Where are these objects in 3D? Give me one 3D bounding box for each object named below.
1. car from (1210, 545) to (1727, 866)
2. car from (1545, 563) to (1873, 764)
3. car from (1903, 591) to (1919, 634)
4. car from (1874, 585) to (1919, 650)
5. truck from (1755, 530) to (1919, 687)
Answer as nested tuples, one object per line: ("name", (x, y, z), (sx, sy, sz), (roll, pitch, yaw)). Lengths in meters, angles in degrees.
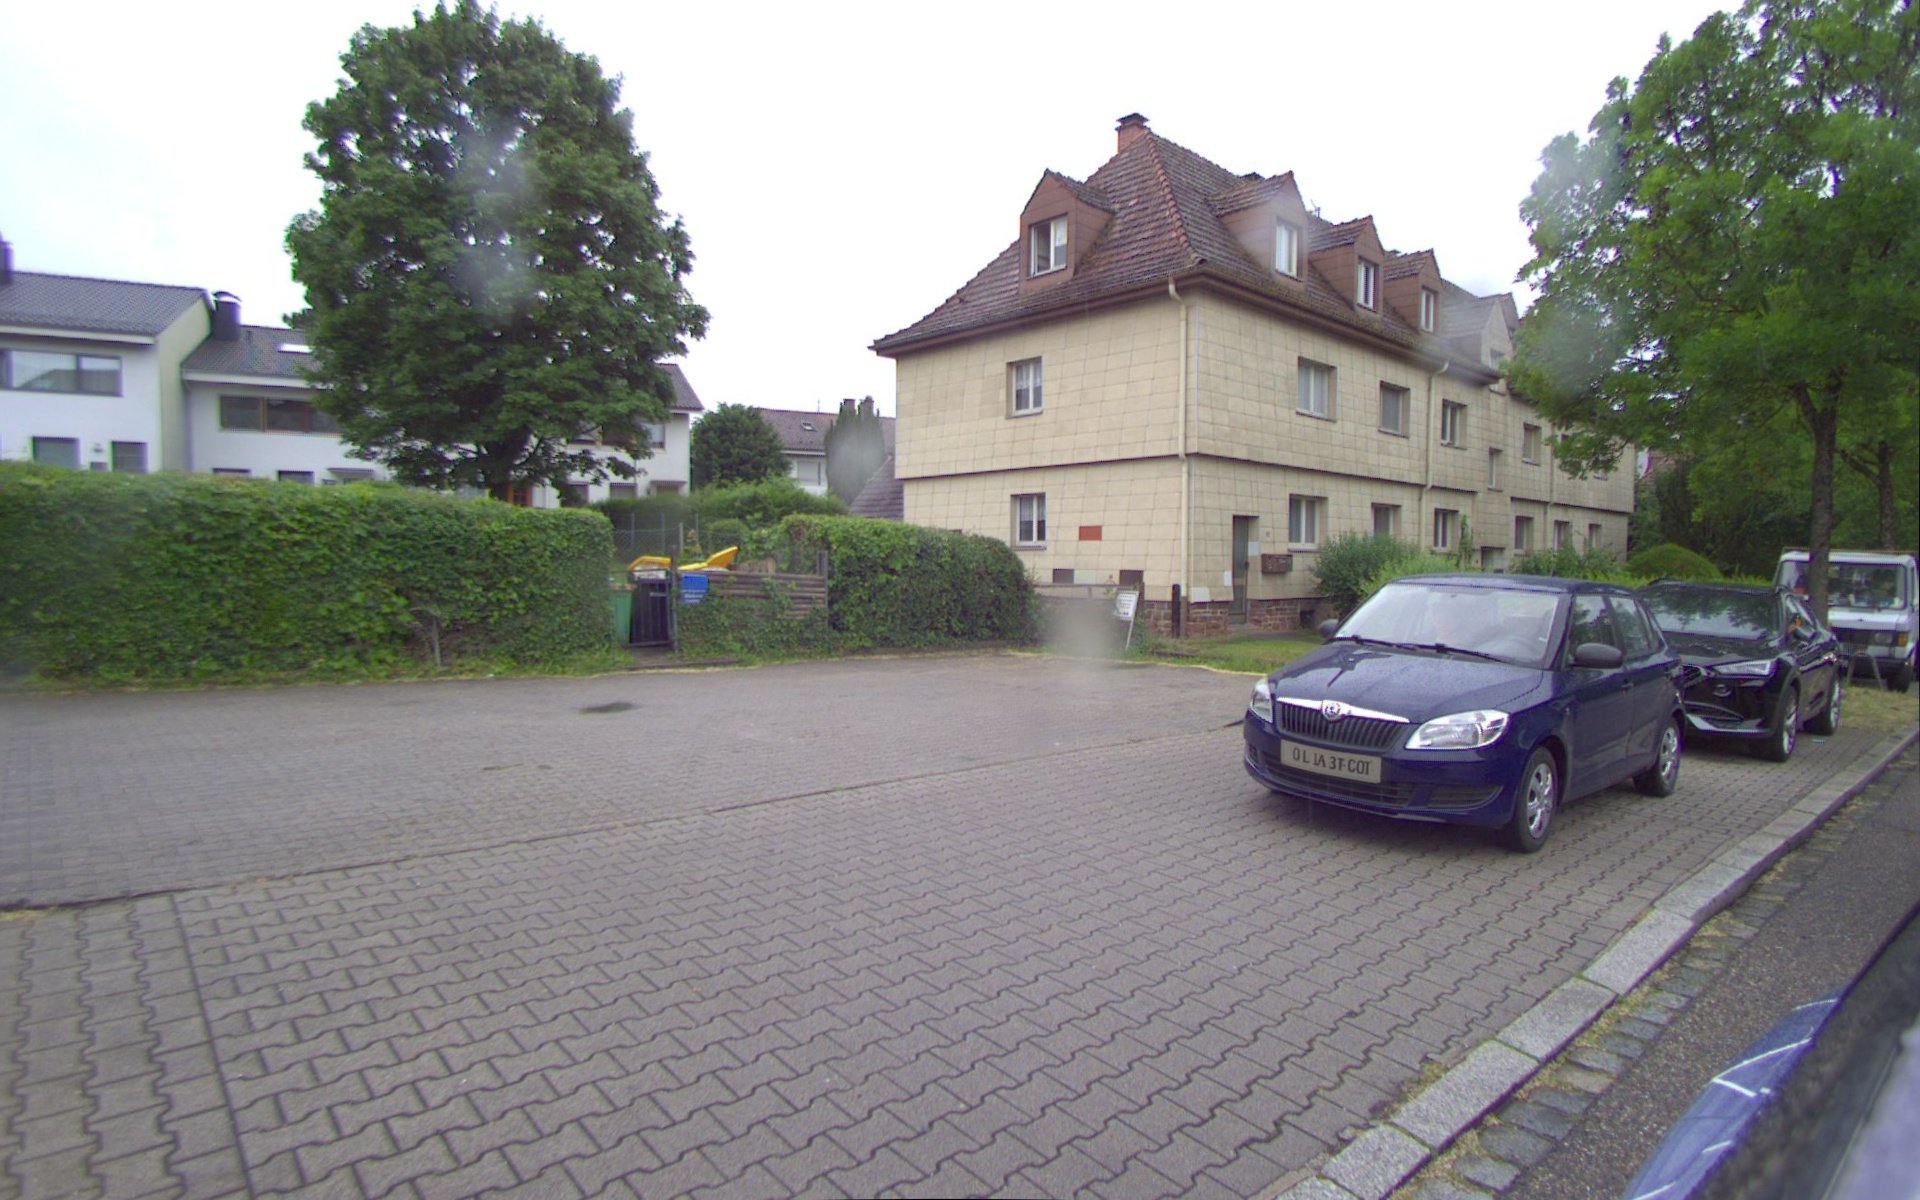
("car", (3.463, 0.472, 6.596), (3.788, 1.490, 1.608), (0, 3, -40))
("car", (7.522, 0.484, 10.018), (4.111, 1.516, 1.718), (0, 4, -42))
("car", (33.602, 0.465, 34.534), (4.424, 1.406, 1.691), (0, 4, -43))
("car", (24.008, 0.523, 25.005), (3.951, 1.454, 1.605), (3, 3, -42))
("truck", (15.935, 0.087, 17.721), (6.392, 2.248, 2.084), (0, 4, -43))
